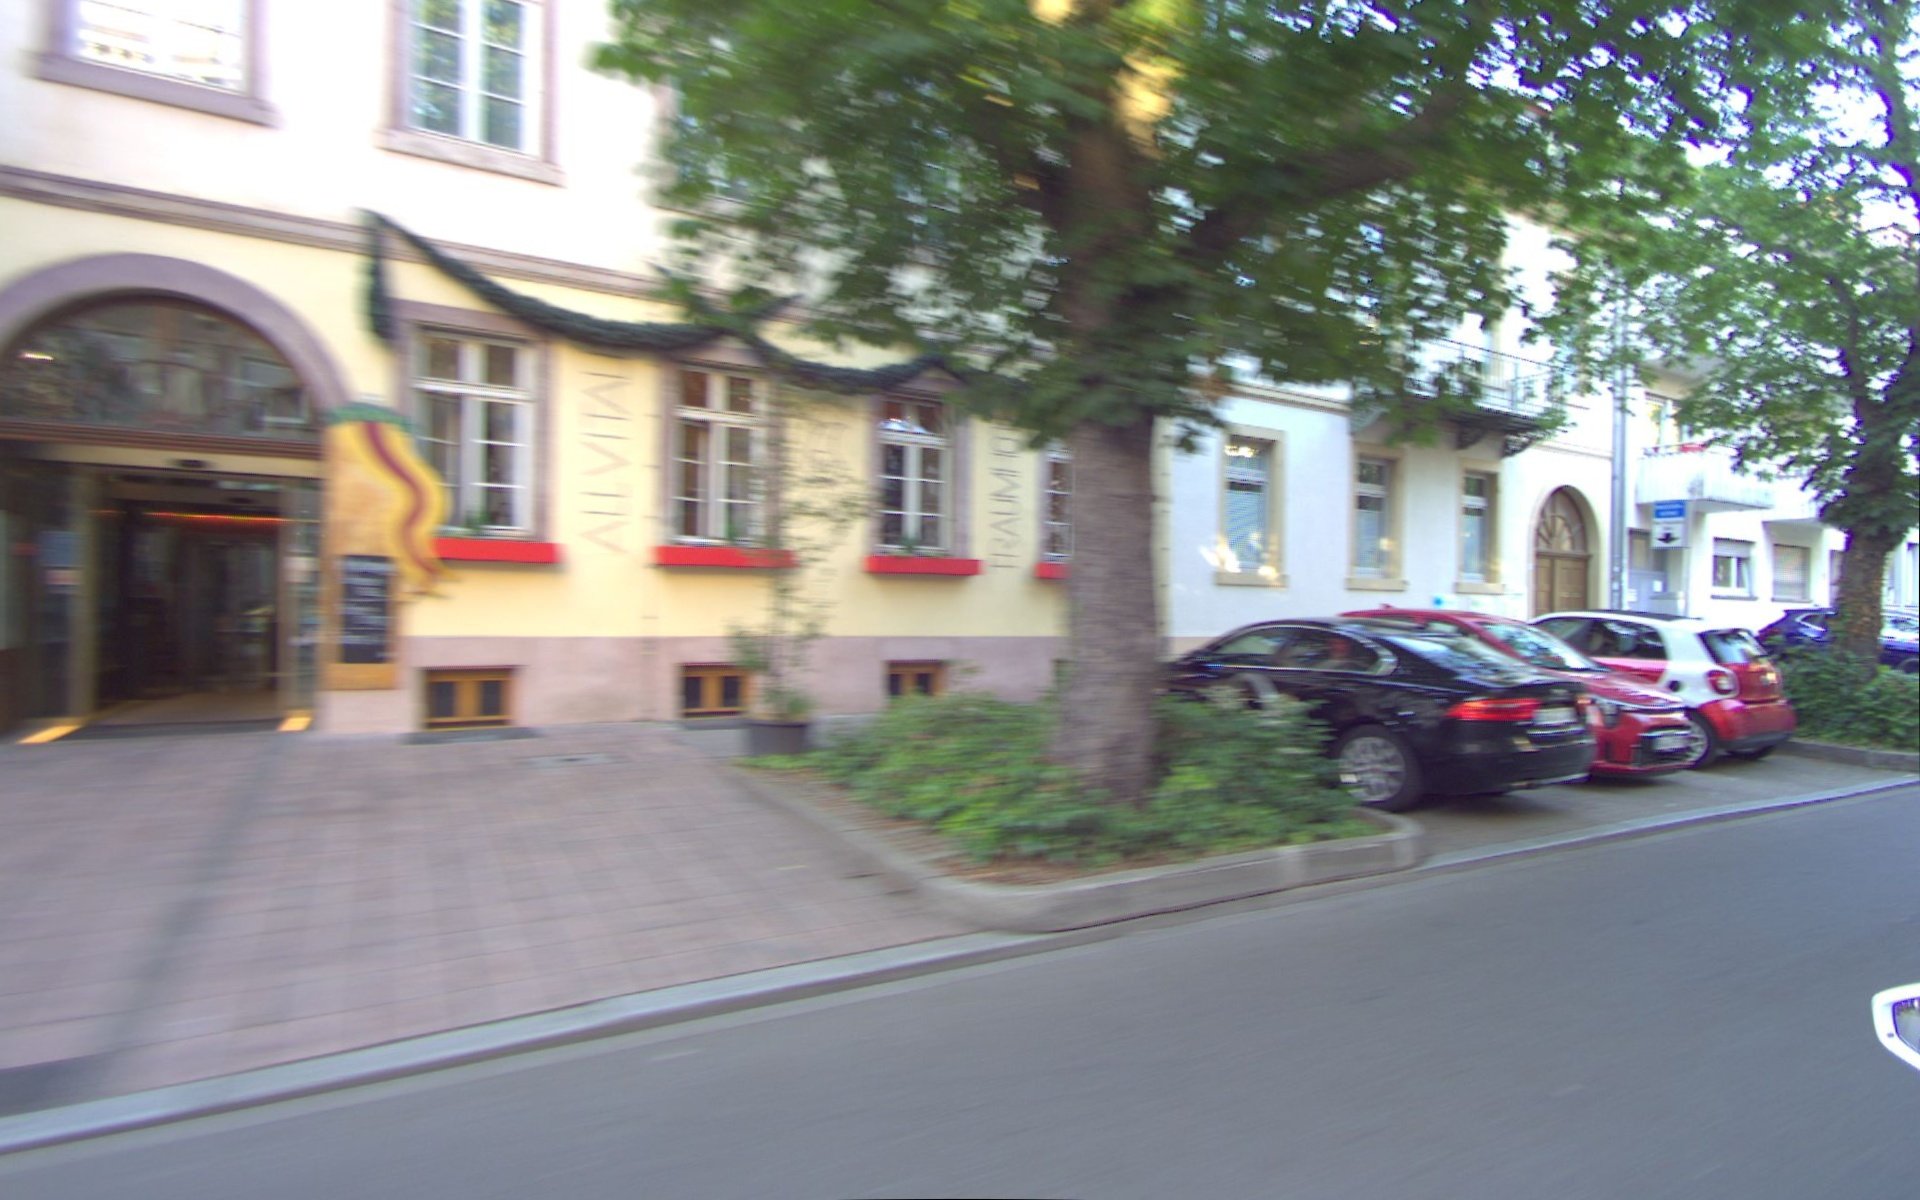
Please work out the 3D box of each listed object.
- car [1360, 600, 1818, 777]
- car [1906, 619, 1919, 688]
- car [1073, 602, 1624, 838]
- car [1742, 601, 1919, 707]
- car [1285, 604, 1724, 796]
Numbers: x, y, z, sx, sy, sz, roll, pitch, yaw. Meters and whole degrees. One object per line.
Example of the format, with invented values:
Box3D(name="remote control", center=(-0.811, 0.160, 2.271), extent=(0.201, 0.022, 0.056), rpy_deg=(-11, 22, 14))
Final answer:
Box3D(name="car", center=(7.261, 0.893, 12.122), extent=(1.751, 1.559, 4.333), rpy_deg=(2, 1, -30))
Box3D(name="car", center=(22.489, 1.199, 20.814), extent=(1.833, 1.470, 3.827), rpy_deg=(0, 1, -30))
Box3D(name="car", center=(3.093, 0.830, 8.974), extent=(1.700, 1.426, 4.397), rpy_deg=(2, 0, -33))
Box3D(name="car", center=(16.120, 0.926, 16.833), extent=(1.908, 1.594, 4.333), rpy_deg=(1, 2, -30))
Box3D(name="car", center=(5.384, 0.856, 10.411), extent=(1.640, 1.469, 3.666), rpy_deg=(1, 2, -30))
